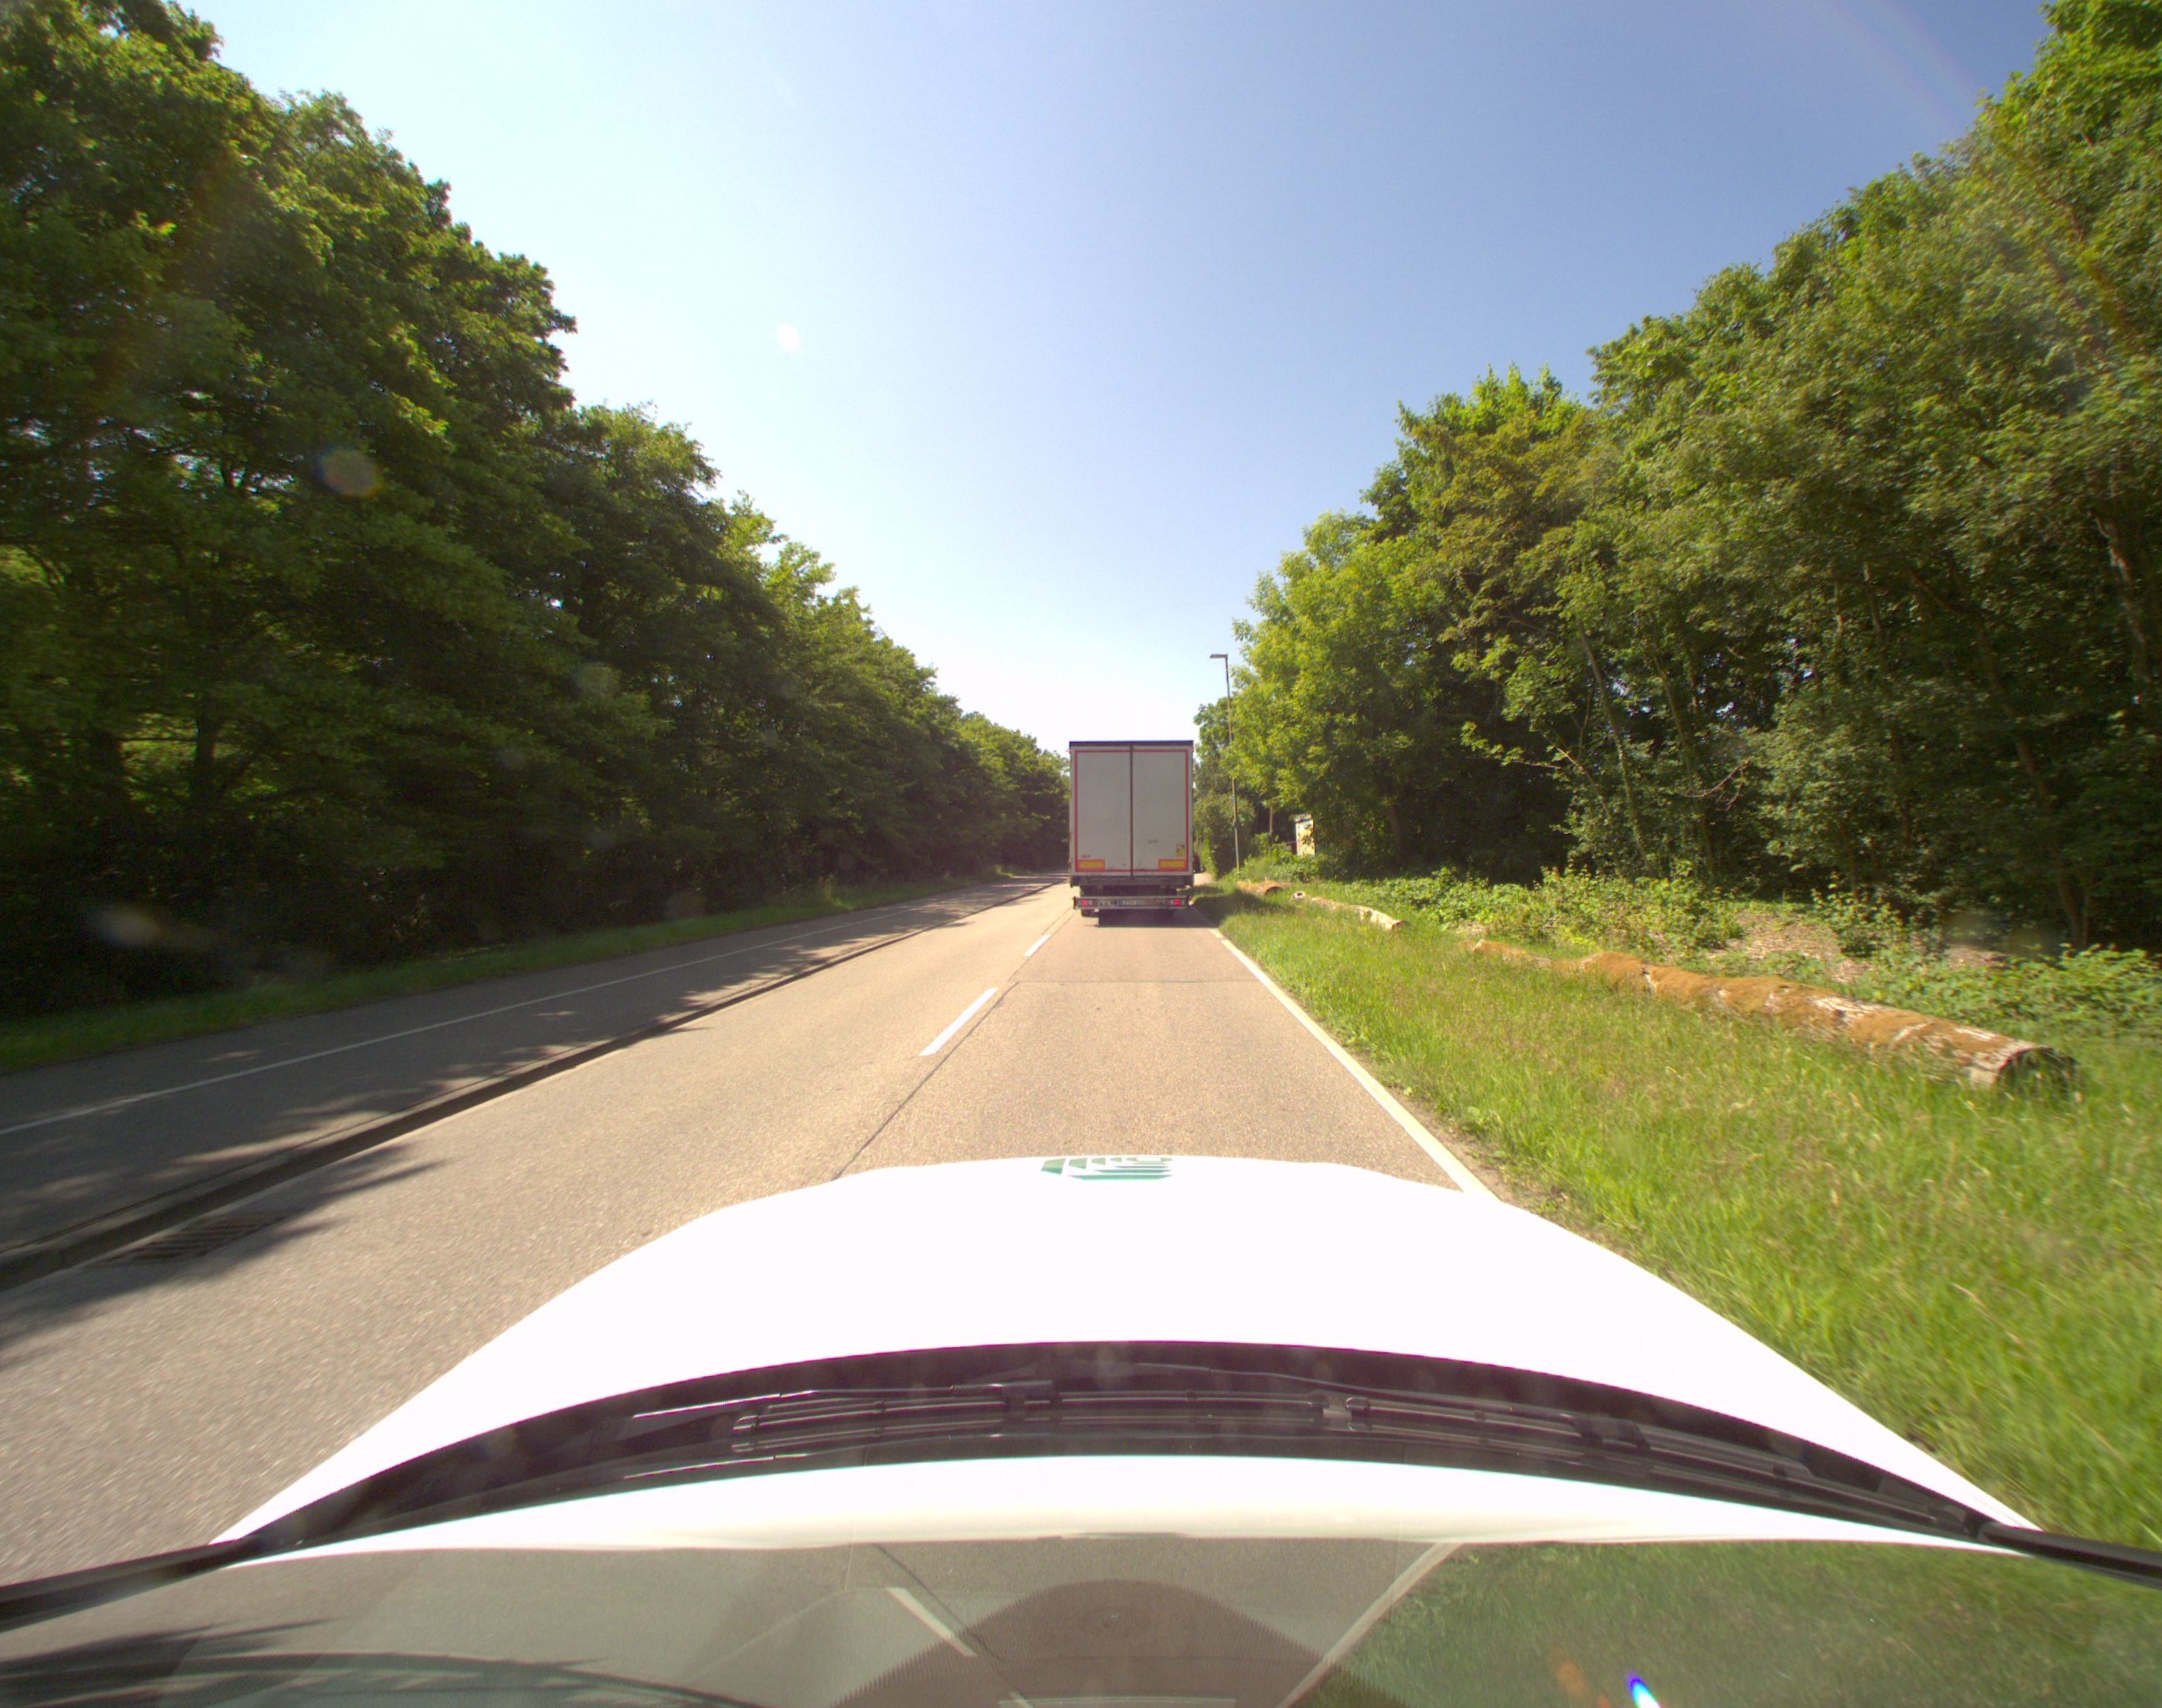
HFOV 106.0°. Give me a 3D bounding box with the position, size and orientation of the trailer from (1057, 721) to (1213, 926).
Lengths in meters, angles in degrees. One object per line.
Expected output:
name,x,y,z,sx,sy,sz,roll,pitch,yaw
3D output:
trailer,1.112,-0.633,21.348,3.067,4.069,9.808,-1,0,0

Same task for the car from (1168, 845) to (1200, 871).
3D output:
car,6.496,0.225,51.792,1.703,1.530,3.854,-3,0,3

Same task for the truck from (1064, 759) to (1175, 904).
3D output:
truck,1.121,-0.682,27.198,3.067,4.069,7.959,-1,1,0
